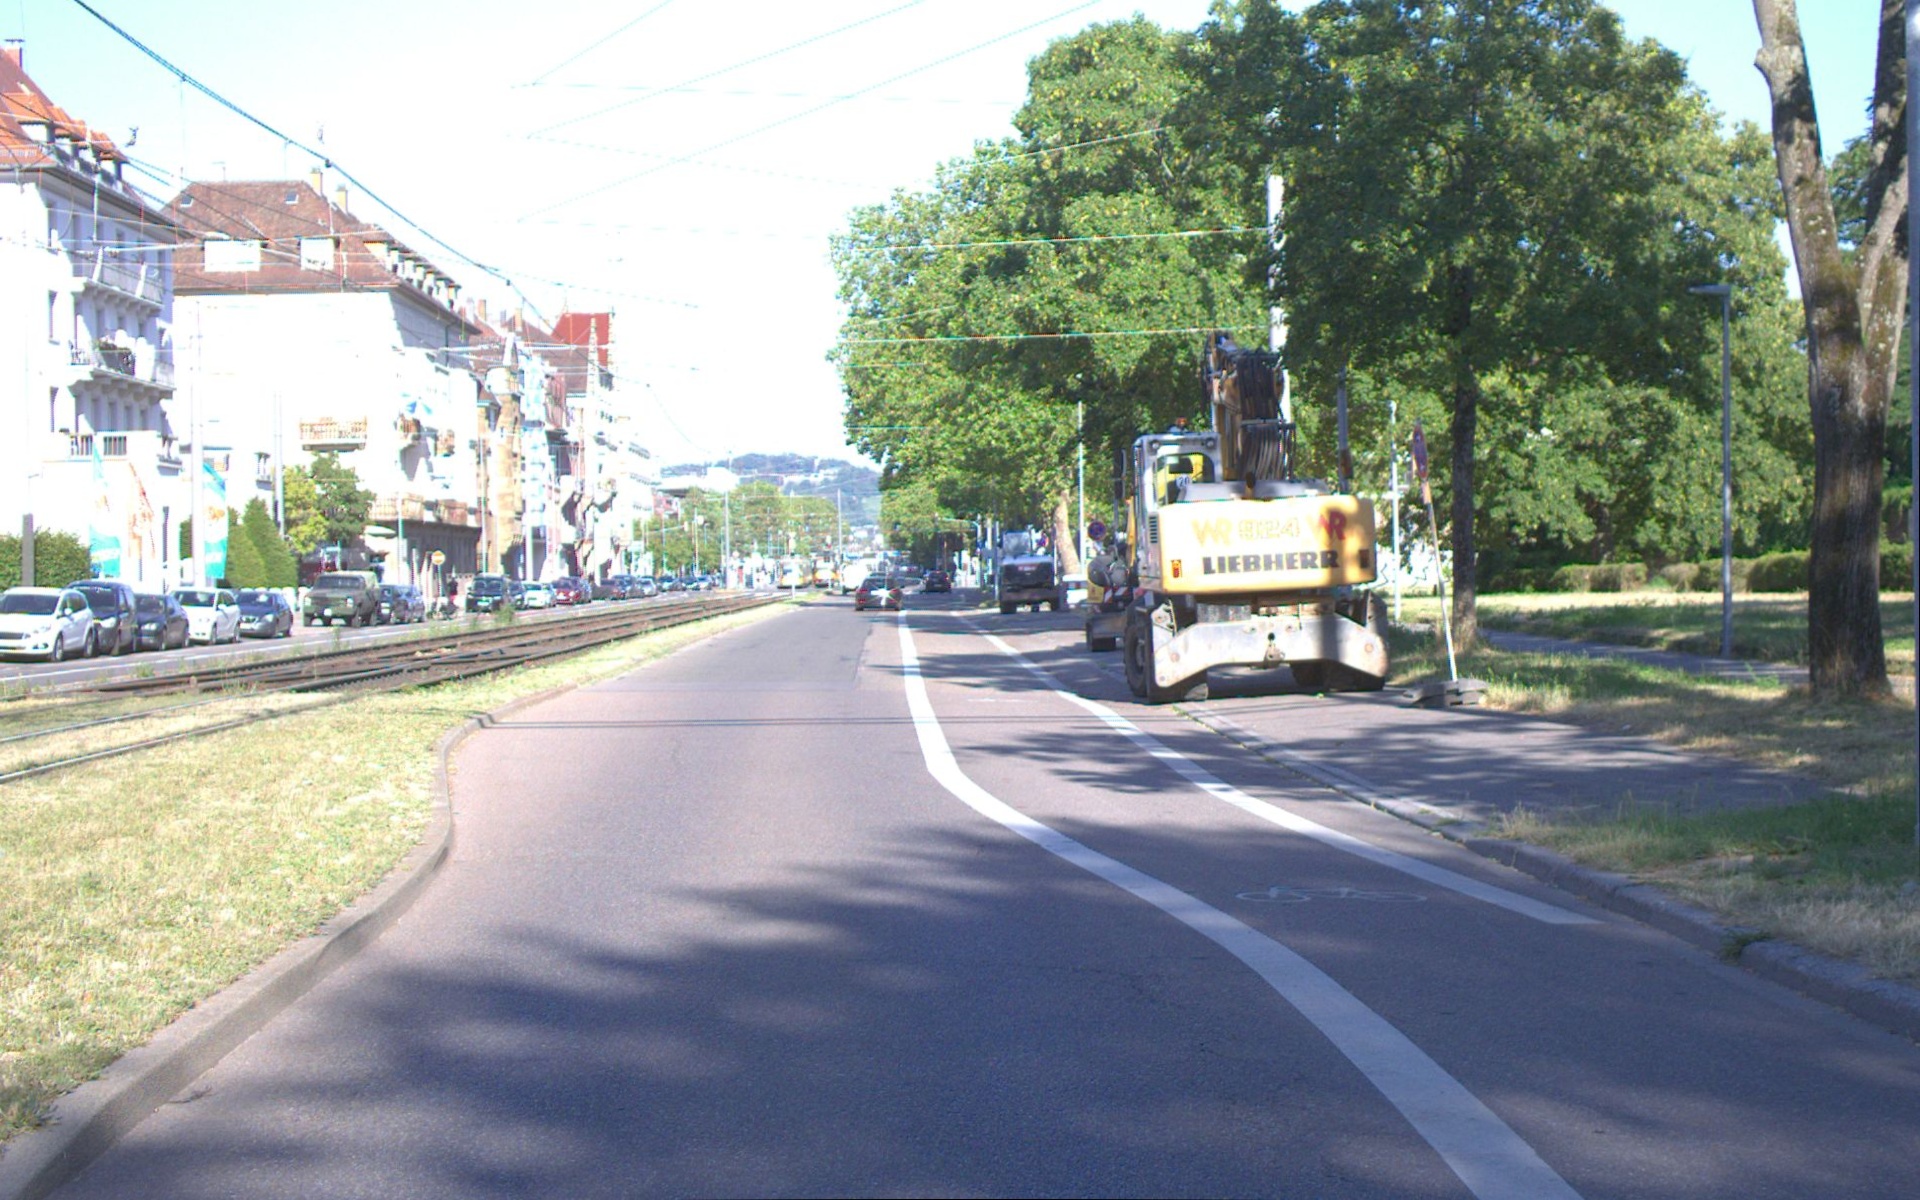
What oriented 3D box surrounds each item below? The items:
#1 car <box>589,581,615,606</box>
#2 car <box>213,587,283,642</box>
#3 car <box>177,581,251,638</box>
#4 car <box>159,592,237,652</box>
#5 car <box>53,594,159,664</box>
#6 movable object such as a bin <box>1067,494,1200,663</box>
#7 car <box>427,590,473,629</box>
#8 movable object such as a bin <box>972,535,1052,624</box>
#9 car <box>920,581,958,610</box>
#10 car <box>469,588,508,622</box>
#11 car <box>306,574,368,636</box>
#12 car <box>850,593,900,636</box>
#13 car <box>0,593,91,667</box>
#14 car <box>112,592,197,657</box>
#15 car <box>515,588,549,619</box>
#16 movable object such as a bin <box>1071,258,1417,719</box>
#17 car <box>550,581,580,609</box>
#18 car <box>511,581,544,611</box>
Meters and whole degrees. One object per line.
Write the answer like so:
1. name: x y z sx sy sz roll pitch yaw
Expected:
1. car: -24.691 -0.442 237.025 1.526 1.605 3.224 1 1 -2
2. car: -21.728 0.434 104.962 1.526 1.555 3.224 1 1 -2
3. car: -21.684 0.261 100.013 1.526 1.555 3.224 1 1 -2
4. car: -21.280 0.601 96.072 1.526 1.555 3.224 1 1 -2
5. car: -20.843 0.686 83.997 1.741 1.555 3.768 1 1 -2
6. movable object such as a bin: 3.269 -0.408 65.640 1.968 3.003 4.797 -4 0 -2
7. car: -21.486 0.385 145.030 1.526 1.555 3.224 1 1 -2
8. movable object such as a bin: 1.814 -0.719 120.833 2.466 2.896 4.000 -4 0 -2
9. car: -1.413 -0.311 227.633 1.993 1.853 4.001 1 0 -8
10. car: -23.008 0.252 167.802 1.526 1.555 3.224 1 1 -2
11. car: -22.486 0.157 124.245 1.658 2.132 3.526 1 1 -2
12. car: -3.460 0.572 141.060 1.993 1.678 4.000 1 0 -1
13. car: -21.344 0.675 79.230 1.741 1.555 3.768 1 1 -2
14. car: -20.961 0.626 89.539 1.526 1.555 3.224 1 1 -2
15. car: -22.998 0.164 184.736 1.526 1.555 3.224 1 1 -2
16. movable object such as a bin: 3.378 -1.294 43.567 3.087 5.071 8.892 -4 0 -2
17. car: -23.668 -0.293 205.997 1.526 1.605 3.224 1 1 -2
18. car: -24.347 -0.254 193.576 1.526 1.605 3.224 1 1 -2
